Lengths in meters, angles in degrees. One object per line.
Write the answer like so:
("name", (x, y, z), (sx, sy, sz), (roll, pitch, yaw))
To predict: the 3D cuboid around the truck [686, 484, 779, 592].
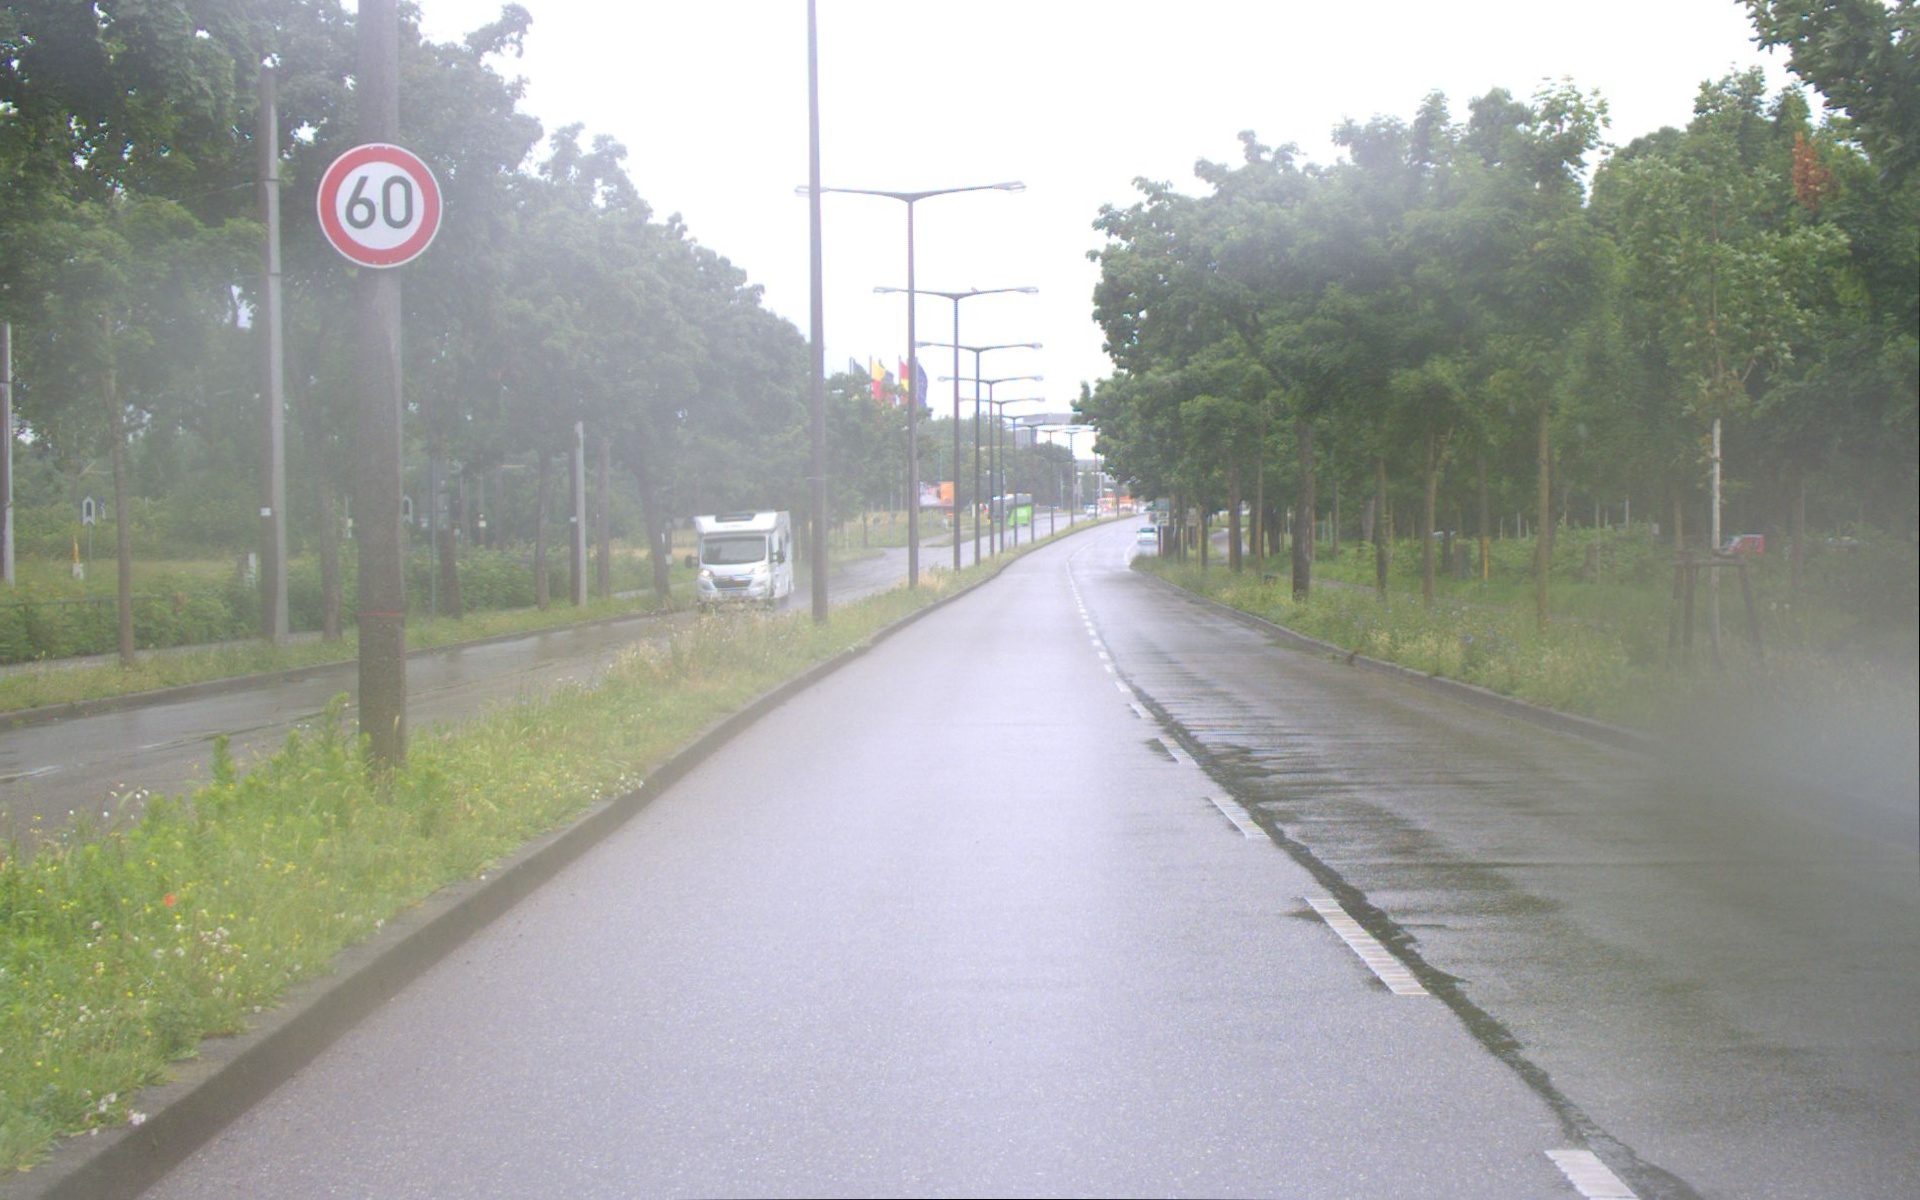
("truck", (-6.263, -1.677, 95.164), (2.138, 2.834, 5.074), (-2, 0, 0))
